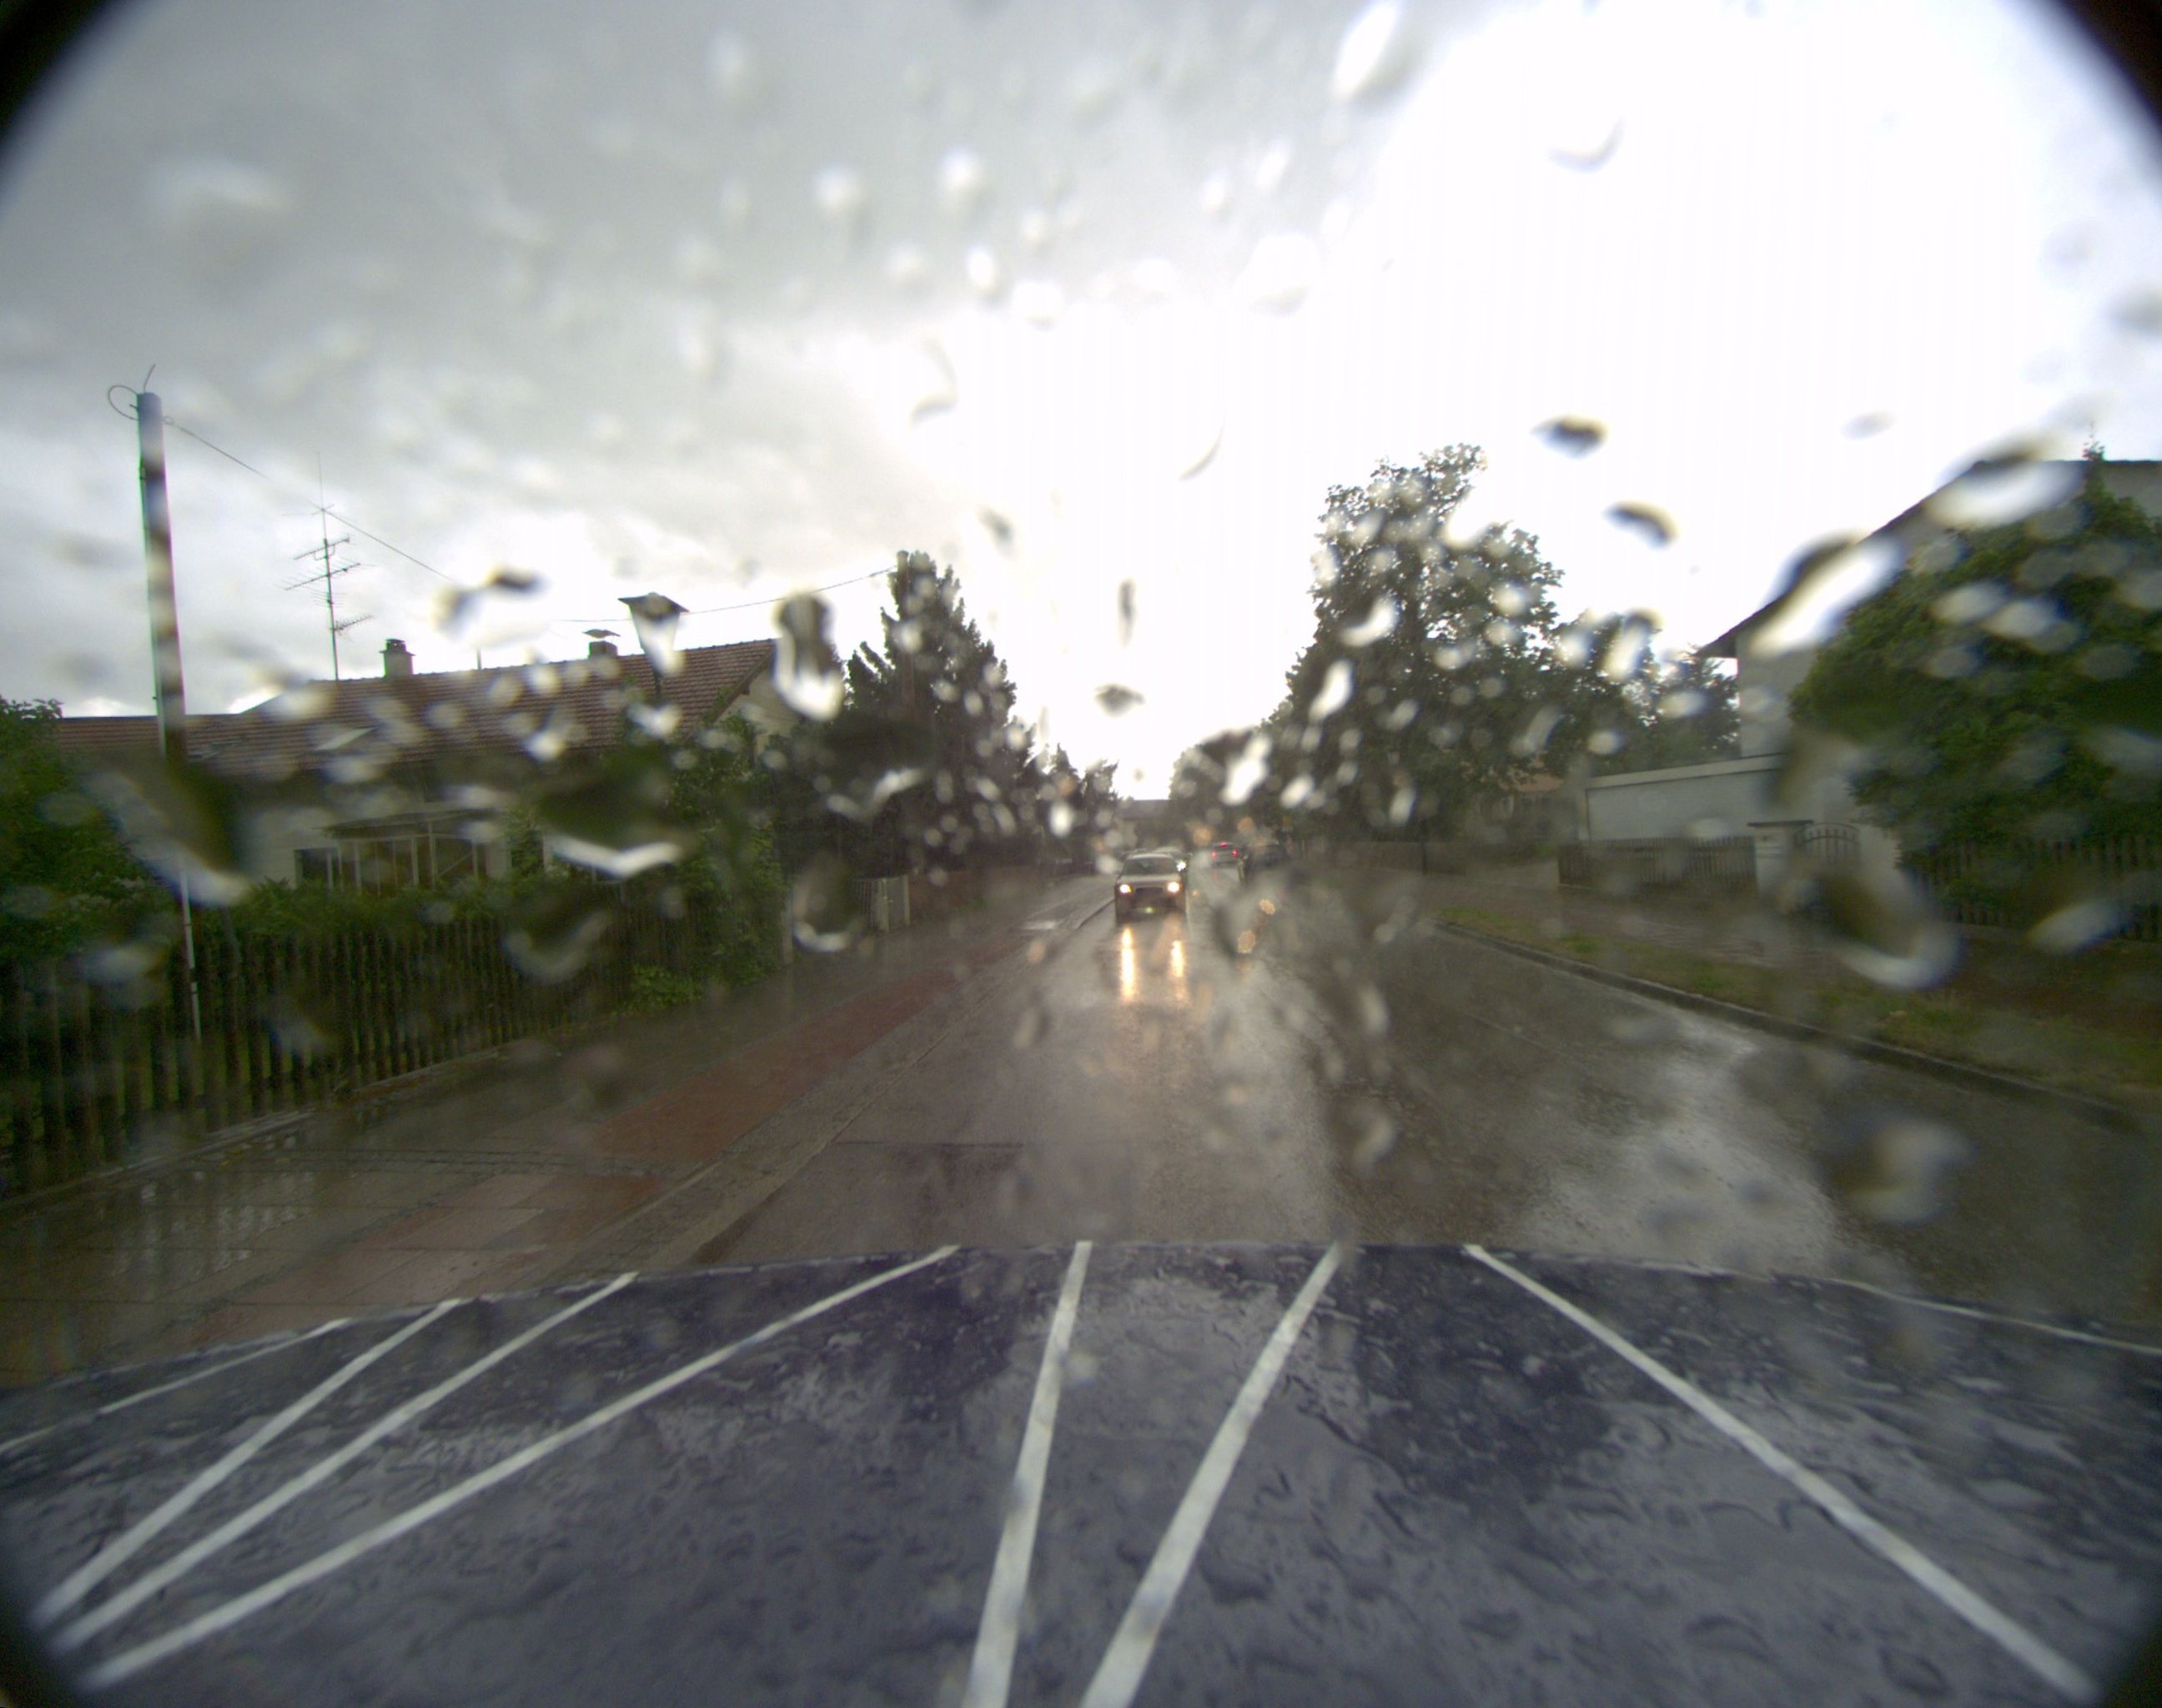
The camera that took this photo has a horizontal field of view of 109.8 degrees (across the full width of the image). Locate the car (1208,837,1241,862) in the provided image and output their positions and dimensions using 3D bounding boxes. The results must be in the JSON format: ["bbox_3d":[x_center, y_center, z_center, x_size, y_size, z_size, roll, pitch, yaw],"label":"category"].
[{"bbox_3d":[9.831,-0.320,52.377,1.757,1.668,4.001,-1,1,4],"label":"car"}]

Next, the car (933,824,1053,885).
[{"bbox_3d":[-3.955,0.010,35.020,5.317,2.712,1.999,0,1,-2],"label":"car"}]

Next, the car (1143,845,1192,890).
[{"bbox_3d":[3.843,0.511,33.537,1.871,1.603,4.962,-5,1,8],"label":"car"}]

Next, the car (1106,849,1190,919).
[{"bbox_3d":[1.835,0.689,19.833,1.871,1.512,4.190,-3,1,8],"label":"car"}]

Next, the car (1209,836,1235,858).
[{"bbox_3d":[12.091,-0.653,65.400,1.926,1.734,4.193,-3,1,8],"label":"car"}]

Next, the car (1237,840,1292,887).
[{"bbox_3d":[6.884,0.319,28.743,1.590,1.601,3.540,-2,1,7],"label":"car"}]

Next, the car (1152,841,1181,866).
[{"bbox_3d":[6.097,-0.087,53.687,1.871,1.512,4.963,-5,1,8],"label":"car"}]

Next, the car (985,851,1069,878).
[{"bbox_3d":[-2.909,0.542,41.640,4.440,1.413,1.830,0,1,0],"label":"car"}]
